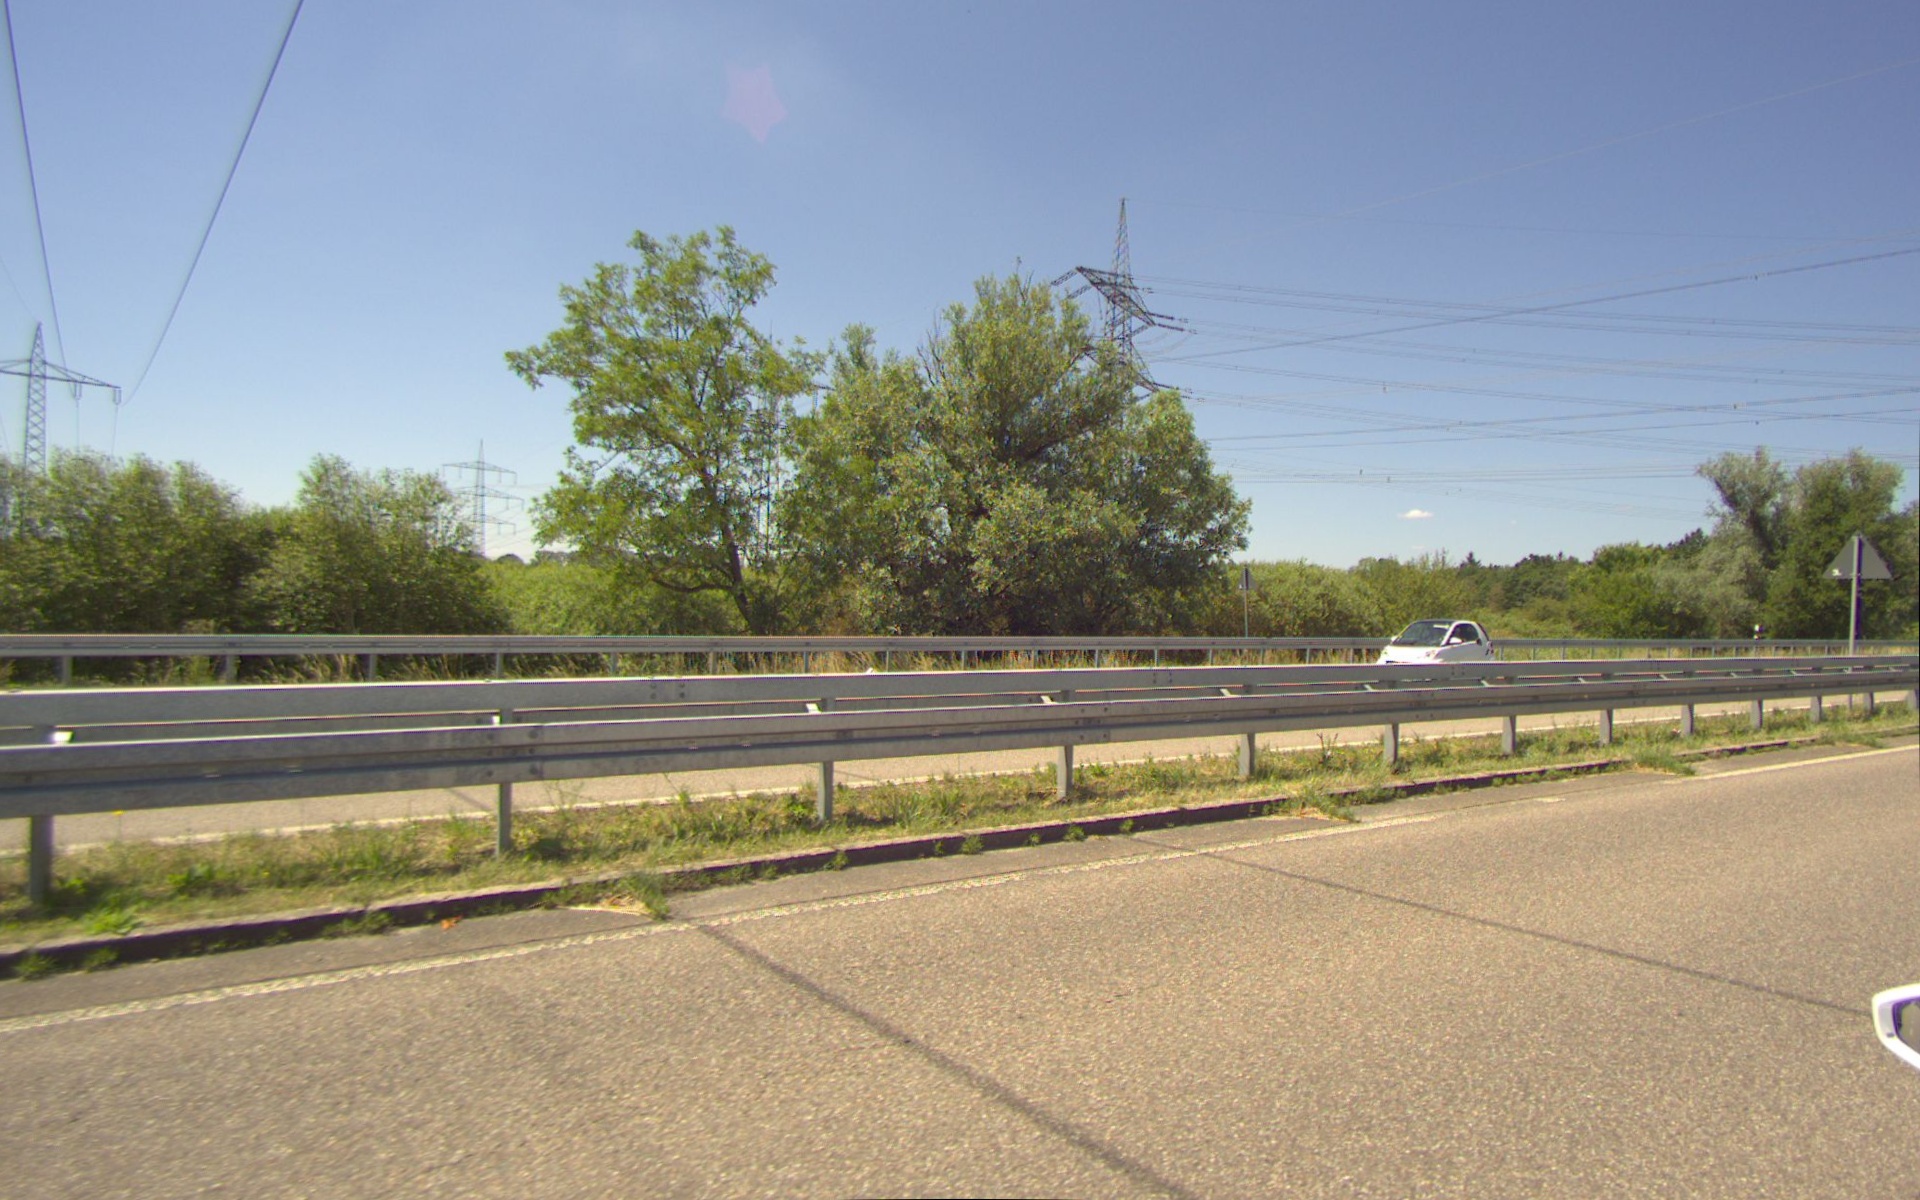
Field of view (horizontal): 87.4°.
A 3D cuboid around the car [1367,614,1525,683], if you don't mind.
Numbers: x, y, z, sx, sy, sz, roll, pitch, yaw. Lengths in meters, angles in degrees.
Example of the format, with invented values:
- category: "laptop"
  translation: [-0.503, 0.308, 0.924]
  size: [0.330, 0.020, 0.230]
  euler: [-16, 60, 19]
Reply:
- category: "car"
  translation: [11.242, 1.094, 23.200]
  size: [3.658, 1.469, 1.525]
  euler: [1, 0, -31]
